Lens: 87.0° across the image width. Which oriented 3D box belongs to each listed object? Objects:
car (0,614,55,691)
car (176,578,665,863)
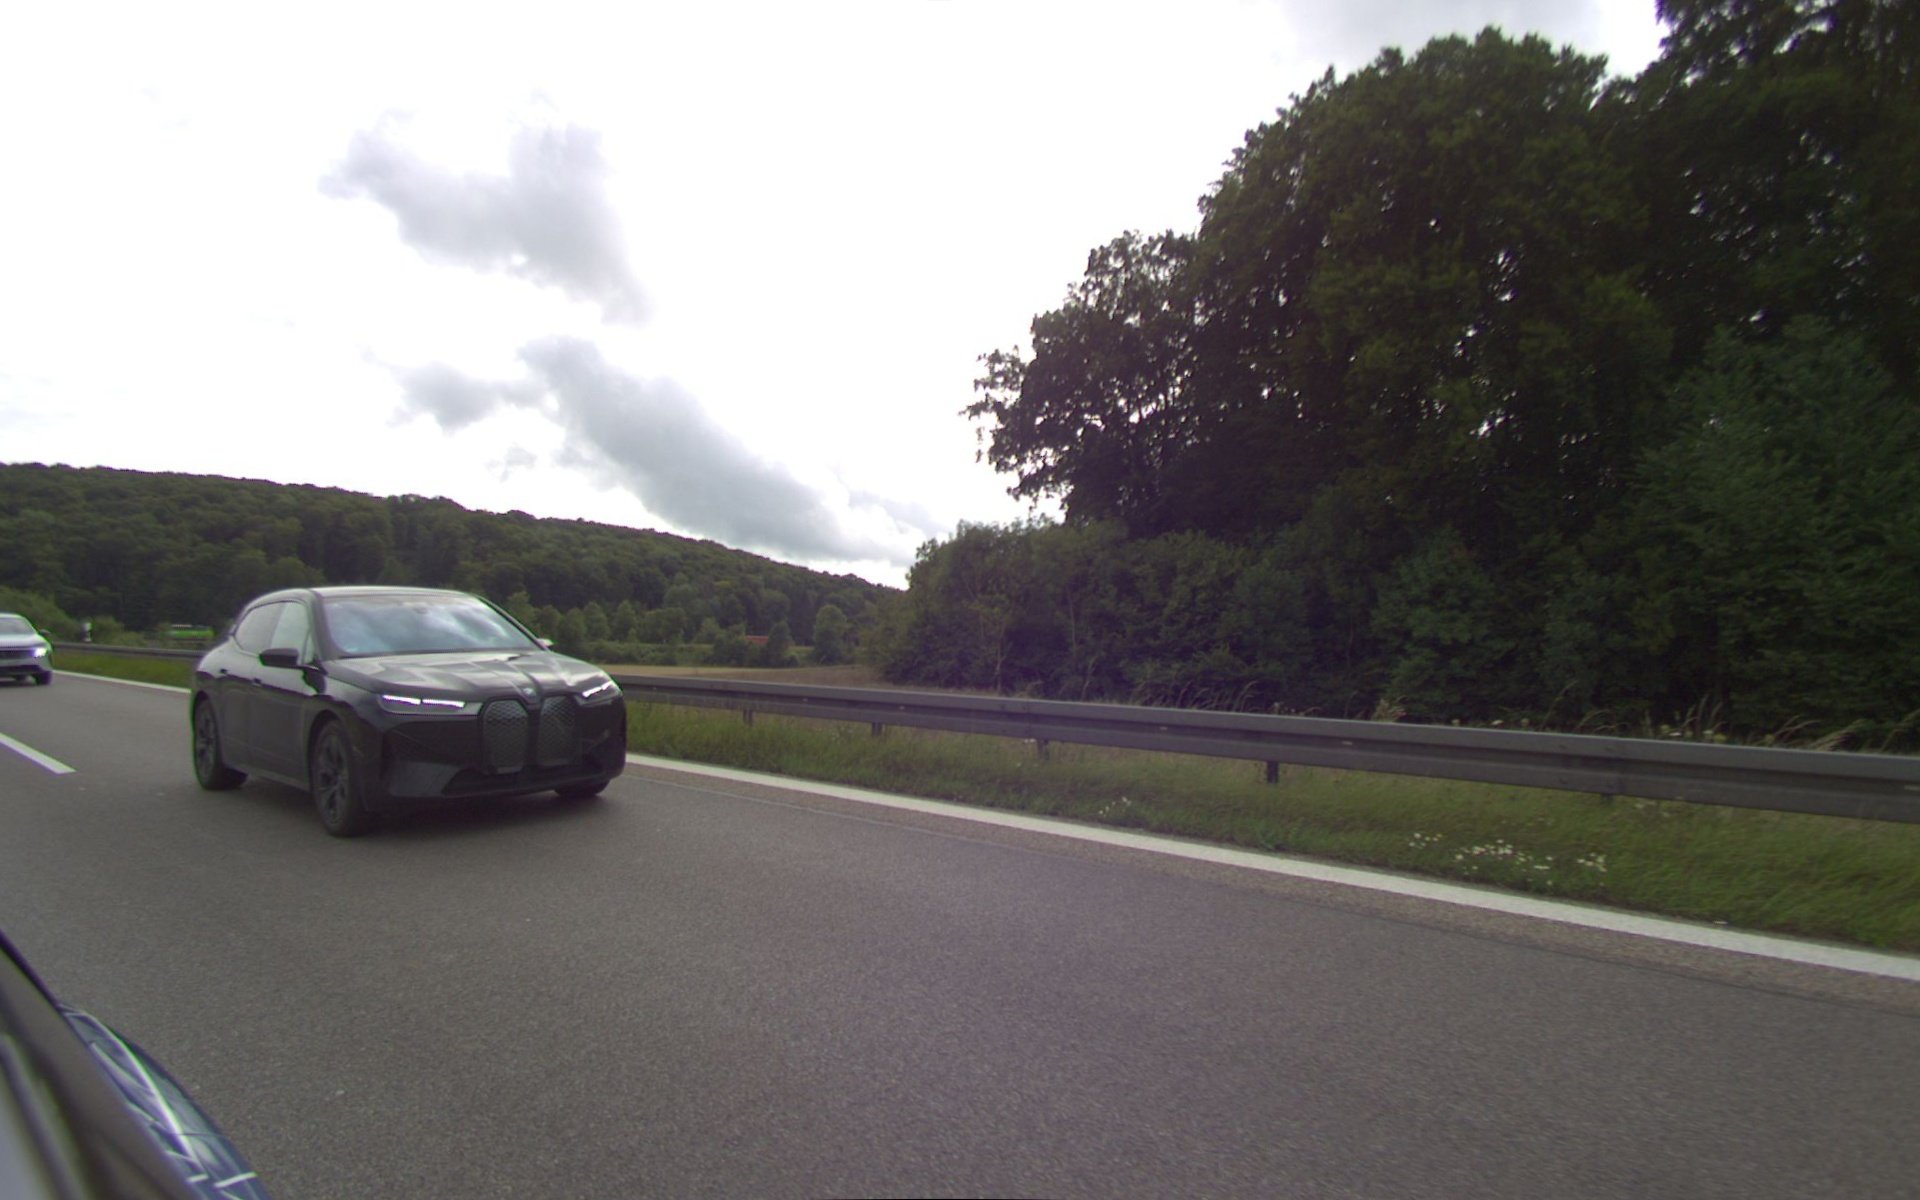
[{"bbox_3d":[-22.802,1.220,23.600,4.412,1.678,1.973,-2,-2,41],"label":"car"},{"bbox_3d":[-4.505,0.766,8.156,4.411,1.678,1.973,-2,-2,40],"label":"car"}]
